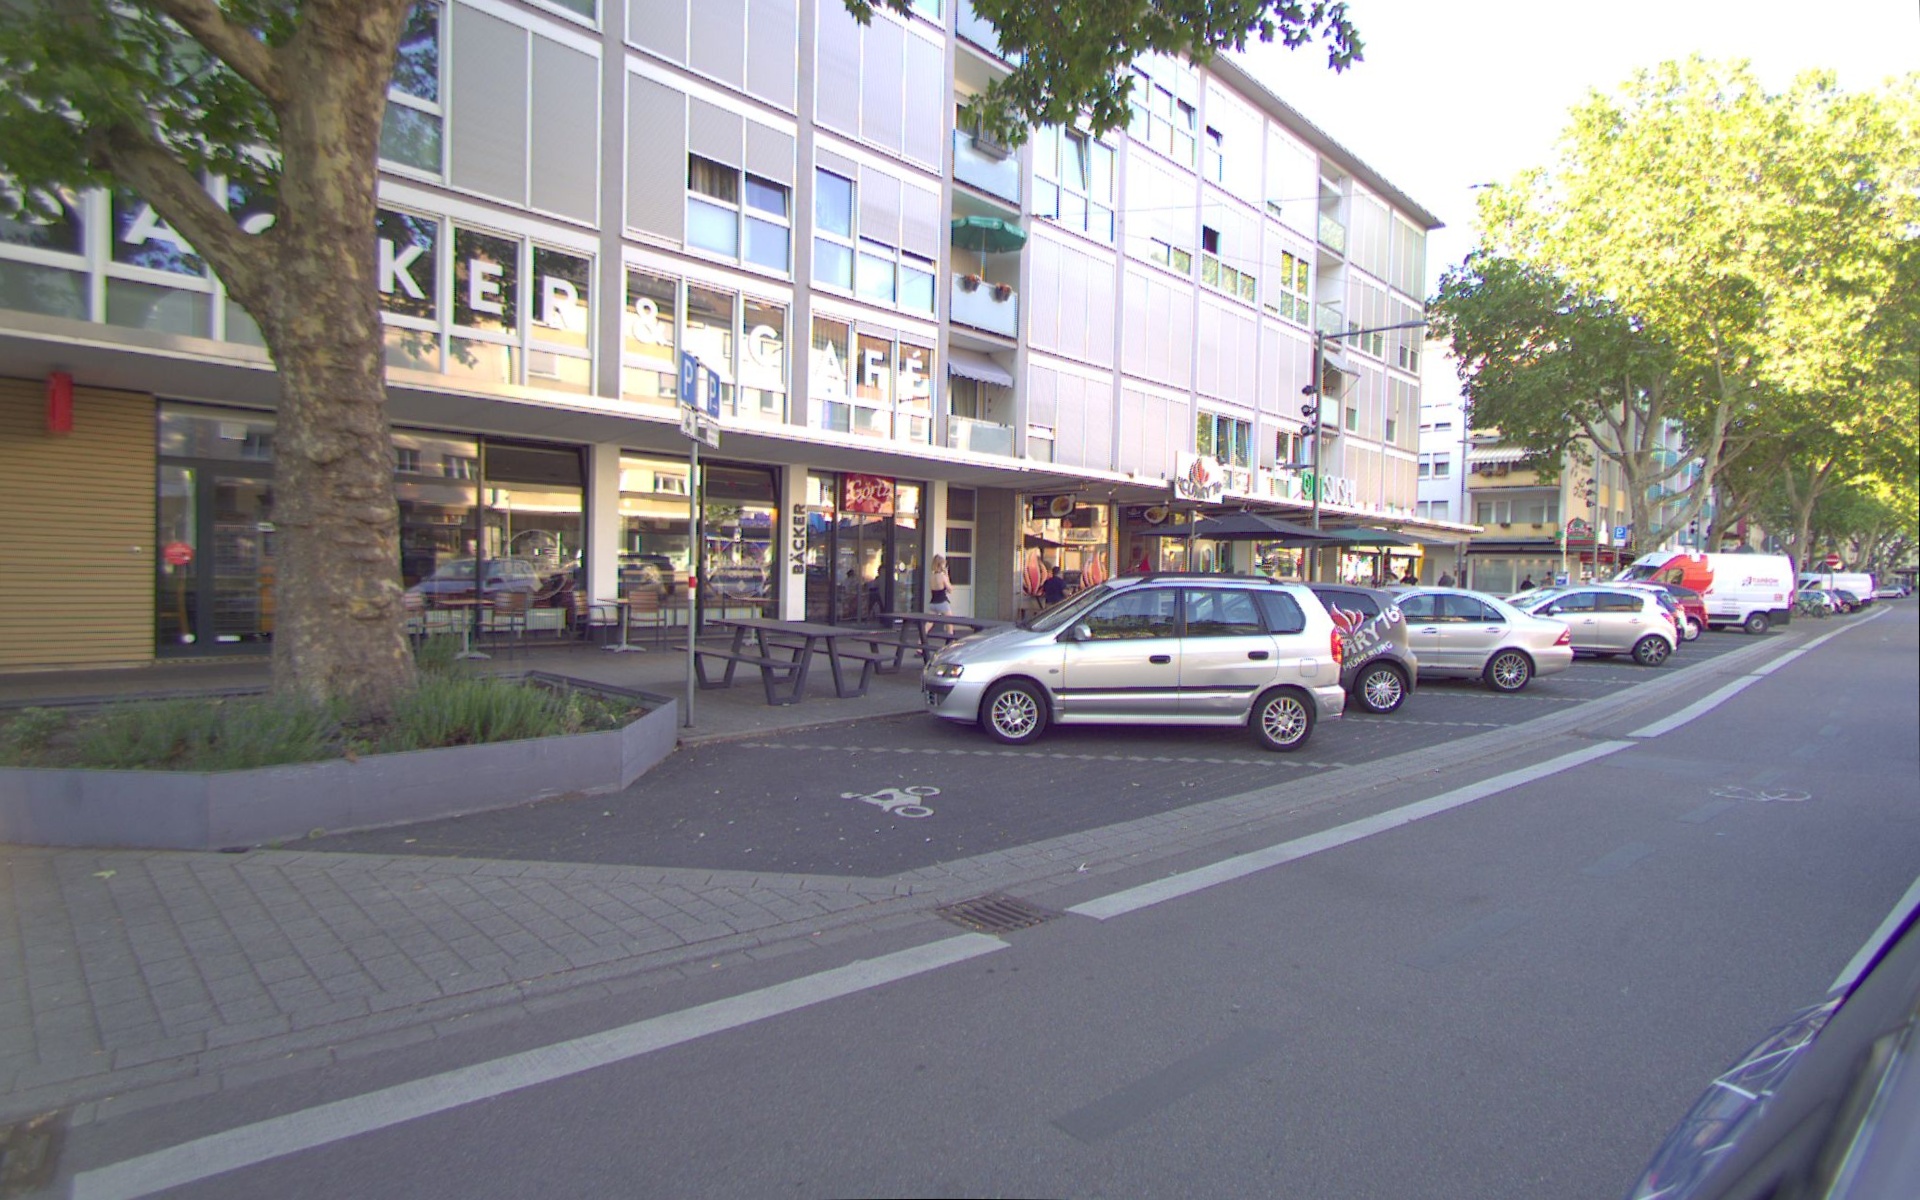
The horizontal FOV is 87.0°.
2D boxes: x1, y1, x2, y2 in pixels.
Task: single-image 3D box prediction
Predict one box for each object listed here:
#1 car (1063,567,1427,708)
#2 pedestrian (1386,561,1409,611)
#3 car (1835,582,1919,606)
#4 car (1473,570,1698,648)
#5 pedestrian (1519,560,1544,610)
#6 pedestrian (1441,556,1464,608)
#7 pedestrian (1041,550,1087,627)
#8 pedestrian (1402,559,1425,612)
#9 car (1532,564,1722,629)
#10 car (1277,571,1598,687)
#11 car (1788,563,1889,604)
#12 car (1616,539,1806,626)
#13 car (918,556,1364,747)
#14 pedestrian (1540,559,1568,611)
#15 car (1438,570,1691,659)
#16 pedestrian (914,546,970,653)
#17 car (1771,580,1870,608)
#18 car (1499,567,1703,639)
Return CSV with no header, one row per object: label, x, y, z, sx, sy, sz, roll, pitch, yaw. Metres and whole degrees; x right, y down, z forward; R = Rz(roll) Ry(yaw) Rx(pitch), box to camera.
car,3.329,0.406,12.326,3.864,1.446,1.679,2,3,-3
pedestrian,14.765,-0.488,34.137,0.536,1.660,0.470,2,2,45
car,56.272,-0.384,61.873,3.864,1.350,1.782,1,2,3
car,13.901,0.153,22.727,3.886,1.446,1.670,3,3,16
pedestrian,23.267,-0.634,41.208,0.746,2.000,0.566,3,2,45
pedestrian,19.719,-0.730,40.547,0.740,2.038,0.554,2,2,24
pedestrian,2.204,-0.256,21.397,0.757,1.602,0.583,0,2,-39
pedestrian,15.134,-0.501,33.743,0.544,1.741,0.450,2,2,45
car,18.064,-0.141,27.603,3.889,1.445,1.669,4,5,17
car,6.864,0.379,14.834,3.867,1.418,1.598,2,3,1
car,56.506,-1.071,65.167,4.512,2.499,1.977,1,2,3
car,23.714,-0.565,32.071,4.514,2.525,1.675,2,1,5
car,1.581,0.434,9.806,3.906,1.560,1.679,2,3,-3
pedestrian,23.792,-0.606,40.553,0.746,2.038,0.752,2,2,45
car,11.717,0.247,19.811,3.871,1.446,1.559,3,3,4
pedestrian,-0.273,-0.020,15.516,0.559,1.596,0.632,2,2,44
car,48.071,-0.346,56.626,3.864,1.422,1.782,1,2,3
car,15.910,0.034,25.329,3.888,1.445,1.669,4,5,17
